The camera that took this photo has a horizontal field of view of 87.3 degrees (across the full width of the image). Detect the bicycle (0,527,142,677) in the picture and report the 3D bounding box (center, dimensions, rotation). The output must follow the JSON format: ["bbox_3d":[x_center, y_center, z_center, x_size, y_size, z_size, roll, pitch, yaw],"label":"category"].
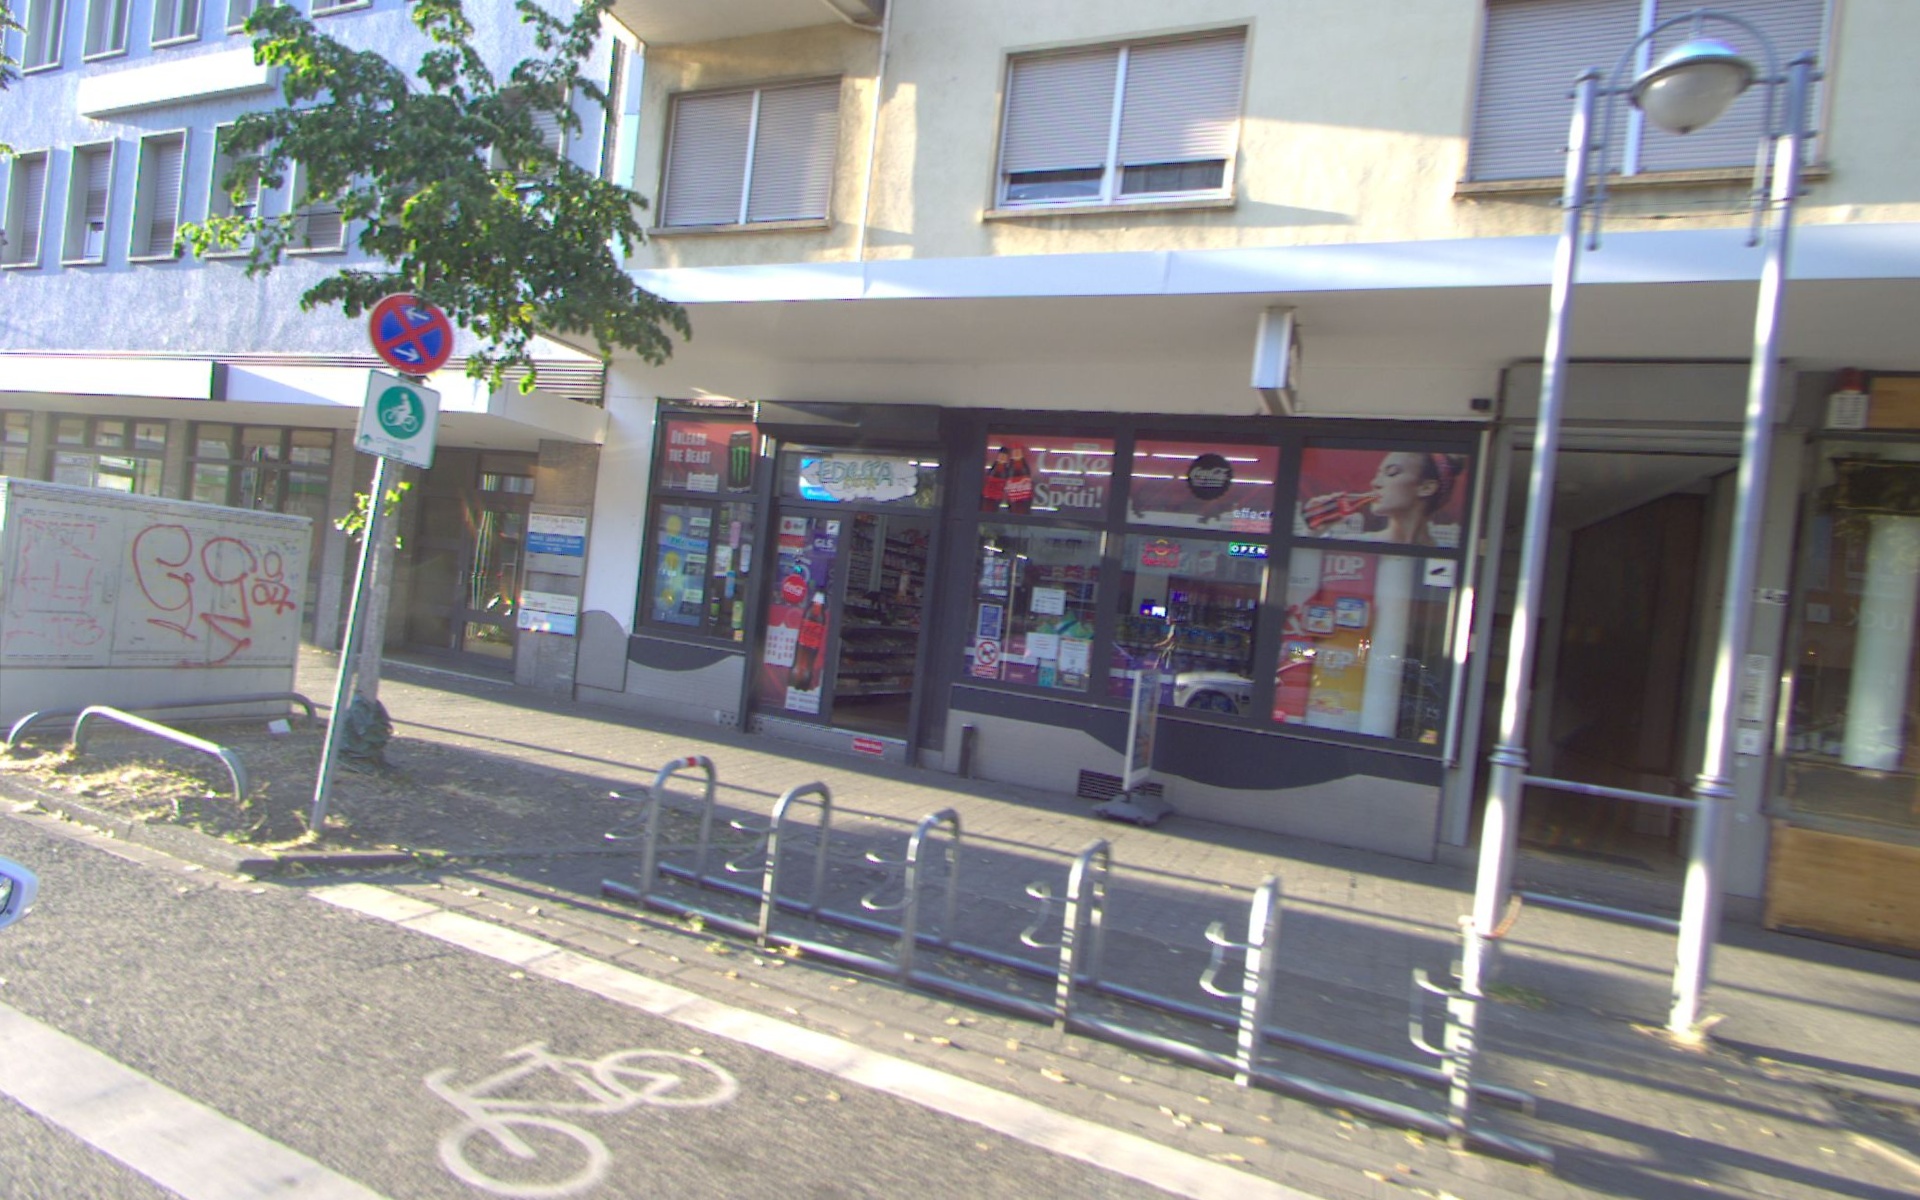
[{"bbox_3d":[-7.960,0.008,8.446,0.484,1.208,1.663,7,-1,11],"label":"bicycle"}]
